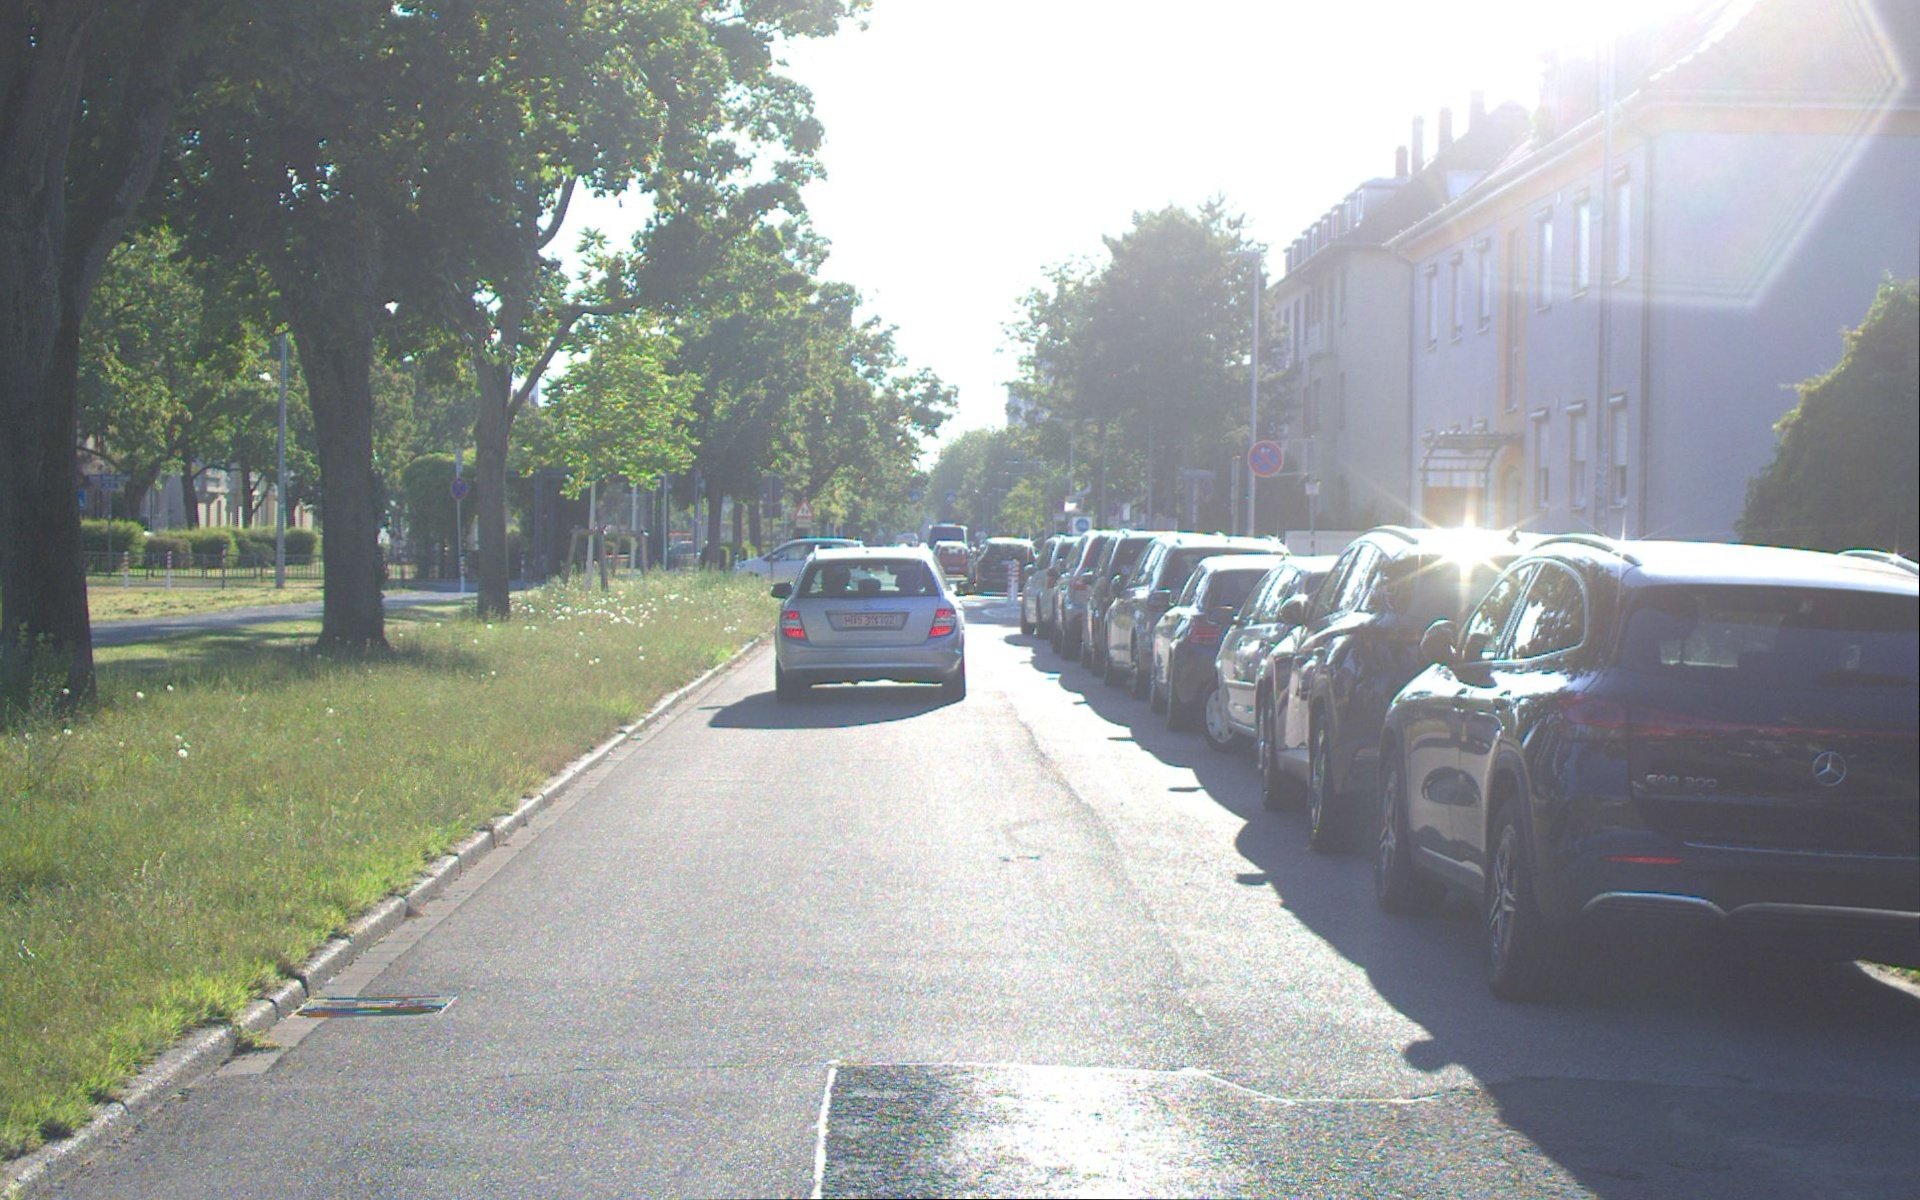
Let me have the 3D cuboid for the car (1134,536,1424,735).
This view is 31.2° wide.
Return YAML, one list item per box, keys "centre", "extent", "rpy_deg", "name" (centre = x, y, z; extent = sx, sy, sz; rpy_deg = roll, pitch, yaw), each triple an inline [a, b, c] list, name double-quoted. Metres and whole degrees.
- centre: [2.593, 0.242, 28.977]
  extent: [1.993, 1.457, 4.561]
  rpy_deg: [3, 1, 0]
  name: "car"

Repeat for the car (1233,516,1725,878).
- centre: [2.654, 0.416, 18.726]
  extent: [1.854, 1.651, 4.820]
  rpy_deg: [2, 1, 0]
  name: "car"

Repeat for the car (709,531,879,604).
- centre: [-4.046, -0.782, 84.181]
  extent: [3.893, 1.591, 2.000]
  rpy_deg: [-2, 0, 4]
  name: "car"

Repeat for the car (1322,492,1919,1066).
- centre: [2.686, 0.541, 13.063]
  extent: [1.933, 1.714, 4.622]
  rpy_deg: [4, 1, -1]
  name: "car"

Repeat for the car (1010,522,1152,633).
- centre: [1.912, -0.386, 55.584]
  extent: [1.716, 1.633, 4.565]
  rpy_deg: [3, 1, -4]
  name: "car"

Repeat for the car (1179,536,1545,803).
- centre: [2.700, 0.439, 24.035]
  extent: [1.728, 1.543, 4.208]
  rpy_deg: [6, 0, -3]
  name: "car"

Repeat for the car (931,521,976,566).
- centre: [-0.314, -2.573, 157.679]
  extent: [1.988, 2.016, 4.000]
  rpy_deg: [1, 1, 0]
  name: "car"

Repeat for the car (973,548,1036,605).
- centre: [1.274, -0.675, 99.440]
  extent: [1.721, 1.591, 4.000]
  rpy_deg: [1, 0, 0]
  name: "car"

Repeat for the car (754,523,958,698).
- centre: [-0.936, 0.053, 32.686]
  extent: [1.823, 1.561, 4.000]
  rpy_deg: [0, 1, 0]
  name: "car"

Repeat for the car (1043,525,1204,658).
- centre: [2.107, -0.120, 45.394]
  extent: [1.777, 1.637, 4.757]
  rpy_deg: [1, 0, -1]
  name: "car"

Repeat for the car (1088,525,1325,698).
- centre: [2.377, 0.077, 34.151]
  extent: [1.724, 1.556, 4.417]
  rpy_deg: [2, 1, -4]
  name: "car"

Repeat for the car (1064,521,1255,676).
- centre: [2.255, -0.024, 39.959]
  extent: [1.765, 1.629, 4.765]
  rpy_deg: [2, 0, -1]
  name: "car"
